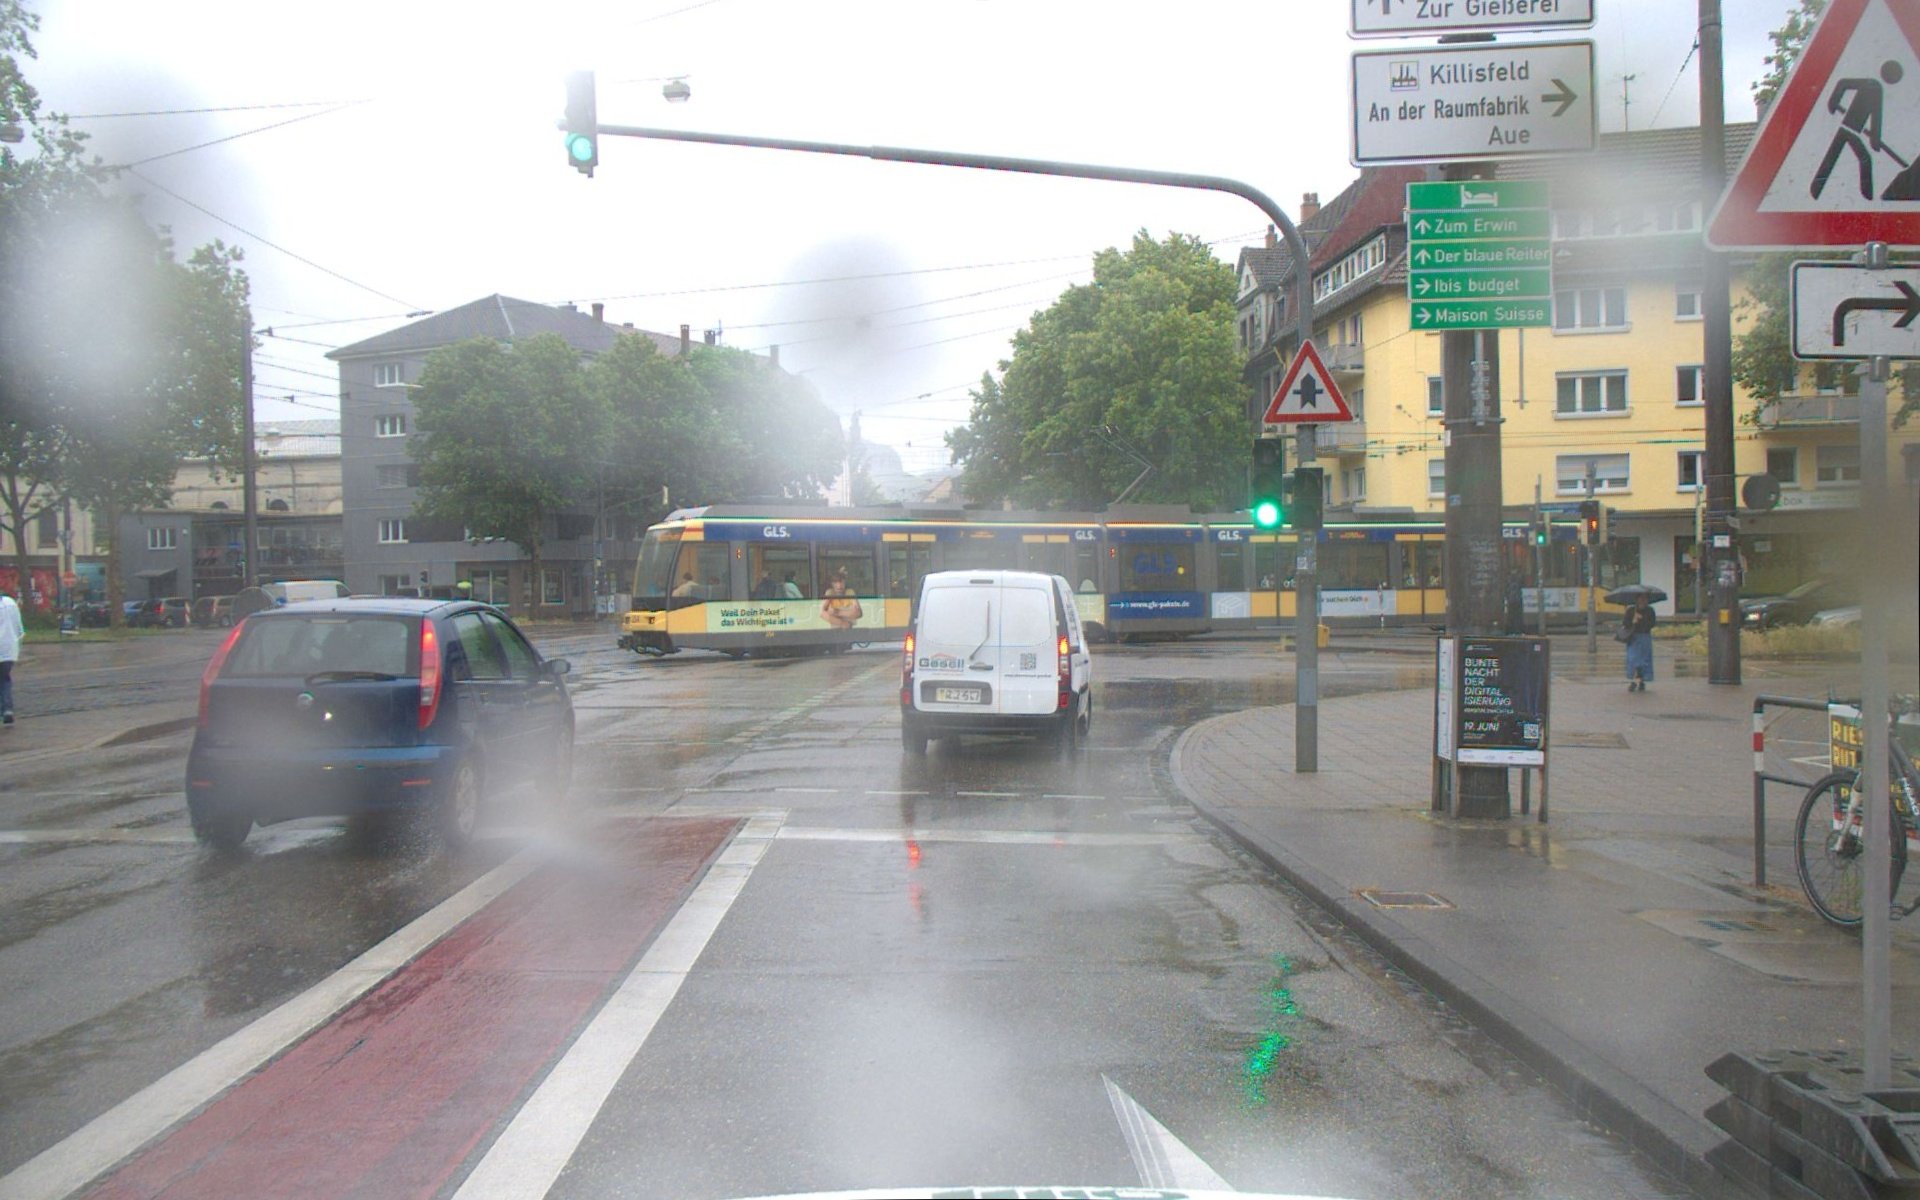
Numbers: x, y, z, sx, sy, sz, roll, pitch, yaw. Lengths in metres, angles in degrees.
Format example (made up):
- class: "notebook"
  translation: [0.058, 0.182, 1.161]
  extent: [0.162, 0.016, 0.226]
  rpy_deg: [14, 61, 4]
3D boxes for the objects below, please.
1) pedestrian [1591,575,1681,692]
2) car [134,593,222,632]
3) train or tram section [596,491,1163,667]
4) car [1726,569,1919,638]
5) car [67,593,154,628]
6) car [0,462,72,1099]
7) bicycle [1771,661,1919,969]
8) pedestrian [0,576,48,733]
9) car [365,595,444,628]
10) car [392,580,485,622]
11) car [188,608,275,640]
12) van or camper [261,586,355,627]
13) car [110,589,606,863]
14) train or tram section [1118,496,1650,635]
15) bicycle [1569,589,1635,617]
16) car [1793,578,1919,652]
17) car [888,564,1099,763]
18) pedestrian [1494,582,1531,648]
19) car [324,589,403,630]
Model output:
- class: "pedestrian"
  translation: [10.159, 0.472, 24.851]
  extent: [1.083, 1.696, 0.995]
  rpy_deg: [1, 1, 33]
- class: "car"
  translation: [-42.952, 0.696, 90.901]
  extent: [1.956, 2.049, 3.993]
  rpy_deg: [1, 0, 29]
- class: "train or tram section"
  translation: [-1.399, -0.579, 39.738]
  extent: [14.420, 3.620, 3.076]
  rpy_deg: [-1, 2, -37]
- class: "car"
  translation: [20.660, 0.067, 39.188]
  extent: [4.179, 1.528, 1.881]
  rpy_deg: [-1, 1, 8]
- class: "car"
  translation: [-48.461, 0.585, 94.422]
  extent: [1.956, 1.794, 3.994]
  rpy_deg: [-1, 1, 29]
- class: "car"
  translation: [-3.509, 0.531, 2.771]
  extent: [1.764, 1.739, 4.191]
  rpy_deg: [0, 1, 0]
- class: "bicycle"
  translation: [4.128, 0.910, 6.997]
  extent: [0.413, 1.188, 1.792]
  rpy_deg: [2, 1, -2]
- class: "pedestrian"
  translation: [-10.205, 0.572, 17.603]
  extent: [0.728, 1.638, 0.707]
  rpy_deg: [-2, 1, -39]
- class: "car"
  translation: [-28.989, 0.611, 86.446]
  extent: [1.909, 1.654, 4.002]
  rpy_deg: [1, 0, 18]
- class: "car"
  translation: [-26.641, 0.023, 84.685]
  extent: [2.022, 2.048, 4.391]
  rpy_deg: [1, 1, 29]
- class: "car"
  translation: [-39.119, 1.305, 88.862]
  extent: [1.953, 1.642, 3.998]
  rpy_deg: [0, -1, 24]
- class: "van or camper"
  translation: [-34.253, 0.334, 87.033]
  extent: [1.953, 2.111, 4.654]
  rpy_deg: [0, 0, 22]
- class: "car"
  translation: [-3.674, 0.698, 10.886]
  extent: [1.844, 1.485, 3.831]
  rpy_deg: [0, 0, 0]
- class: "train or tram section"
  translation: [11.694, -0.979, 45.730]
  extent: [14.365, 3.620, 3.108]
  rpy_deg: [0, 1, -11]
- class: "bicycle"
  translation: [21.463, 0.108, 55.306]
  extent: [1.996, 0.912, 0.614]
  rpy_deg: [-1, 1, 14]
- class: "car"
  translation: [20.757, 0.301, 35.996]
  extent: [4.390, 1.515, 1.742]
  rpy_deg: [-1, 1, 13]
- class: "car"
  translation: [0.478, 0.540, 17.477]
  extent: [1.863, 1.828, 4.117]
  rpy_deg: [0, 1, 6]
- class: "pedestrian"
  translation: [14.593, 0.387, 43.676]
  extent: [0.796, 1.706, 1.016]
  rpy_deg: [0, 1, 25]
- class: "car"
  translation: [-31.300, 0.467, 86.909]
  extent: [1.951, 2.048, 4.003]
  rpy_deg: [0, 1, 16]
